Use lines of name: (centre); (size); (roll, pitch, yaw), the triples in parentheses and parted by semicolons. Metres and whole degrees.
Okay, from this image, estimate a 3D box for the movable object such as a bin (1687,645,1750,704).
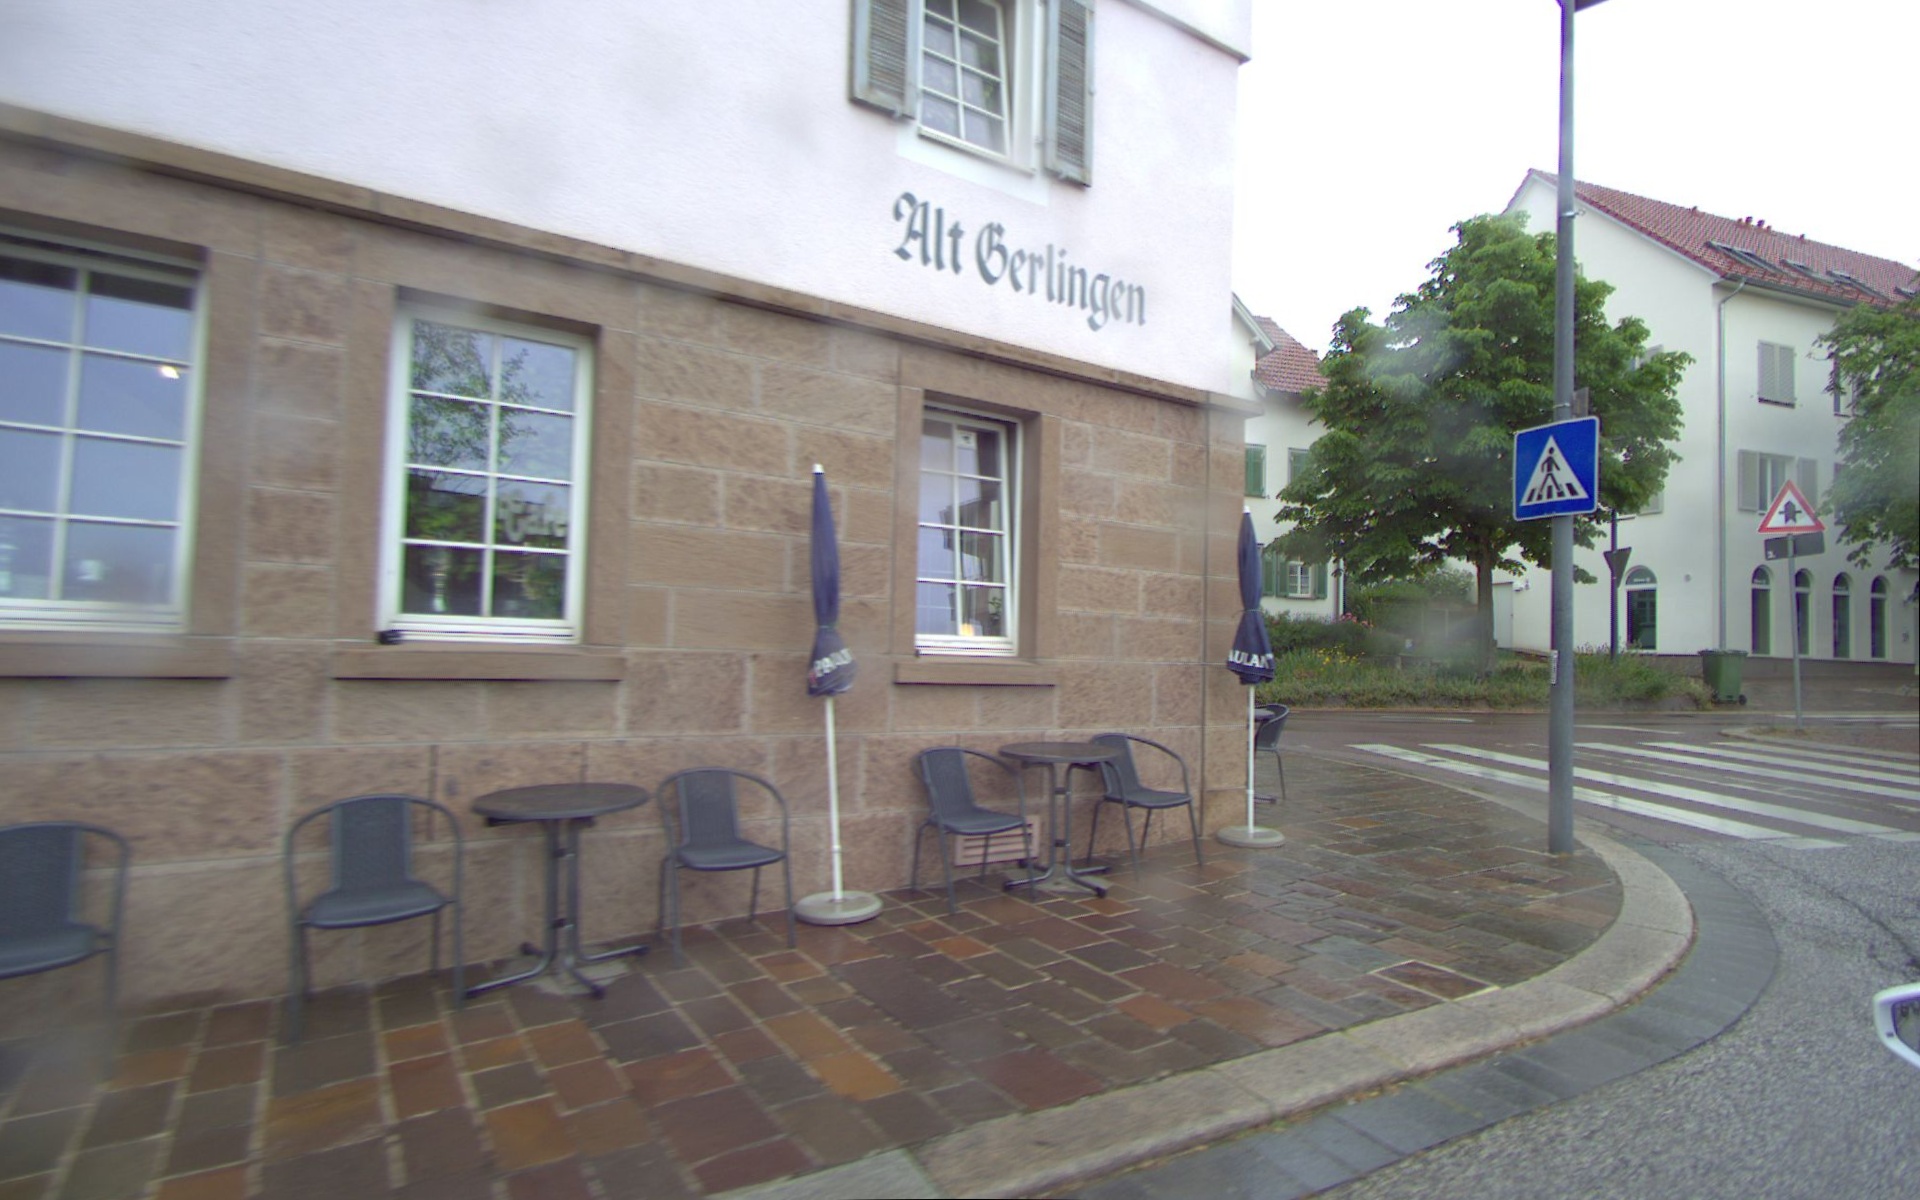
movable object such as a bin: (15.041, 1.475, 19.937); (0.639, 1.139, 0.738); (1, -3, -14)
